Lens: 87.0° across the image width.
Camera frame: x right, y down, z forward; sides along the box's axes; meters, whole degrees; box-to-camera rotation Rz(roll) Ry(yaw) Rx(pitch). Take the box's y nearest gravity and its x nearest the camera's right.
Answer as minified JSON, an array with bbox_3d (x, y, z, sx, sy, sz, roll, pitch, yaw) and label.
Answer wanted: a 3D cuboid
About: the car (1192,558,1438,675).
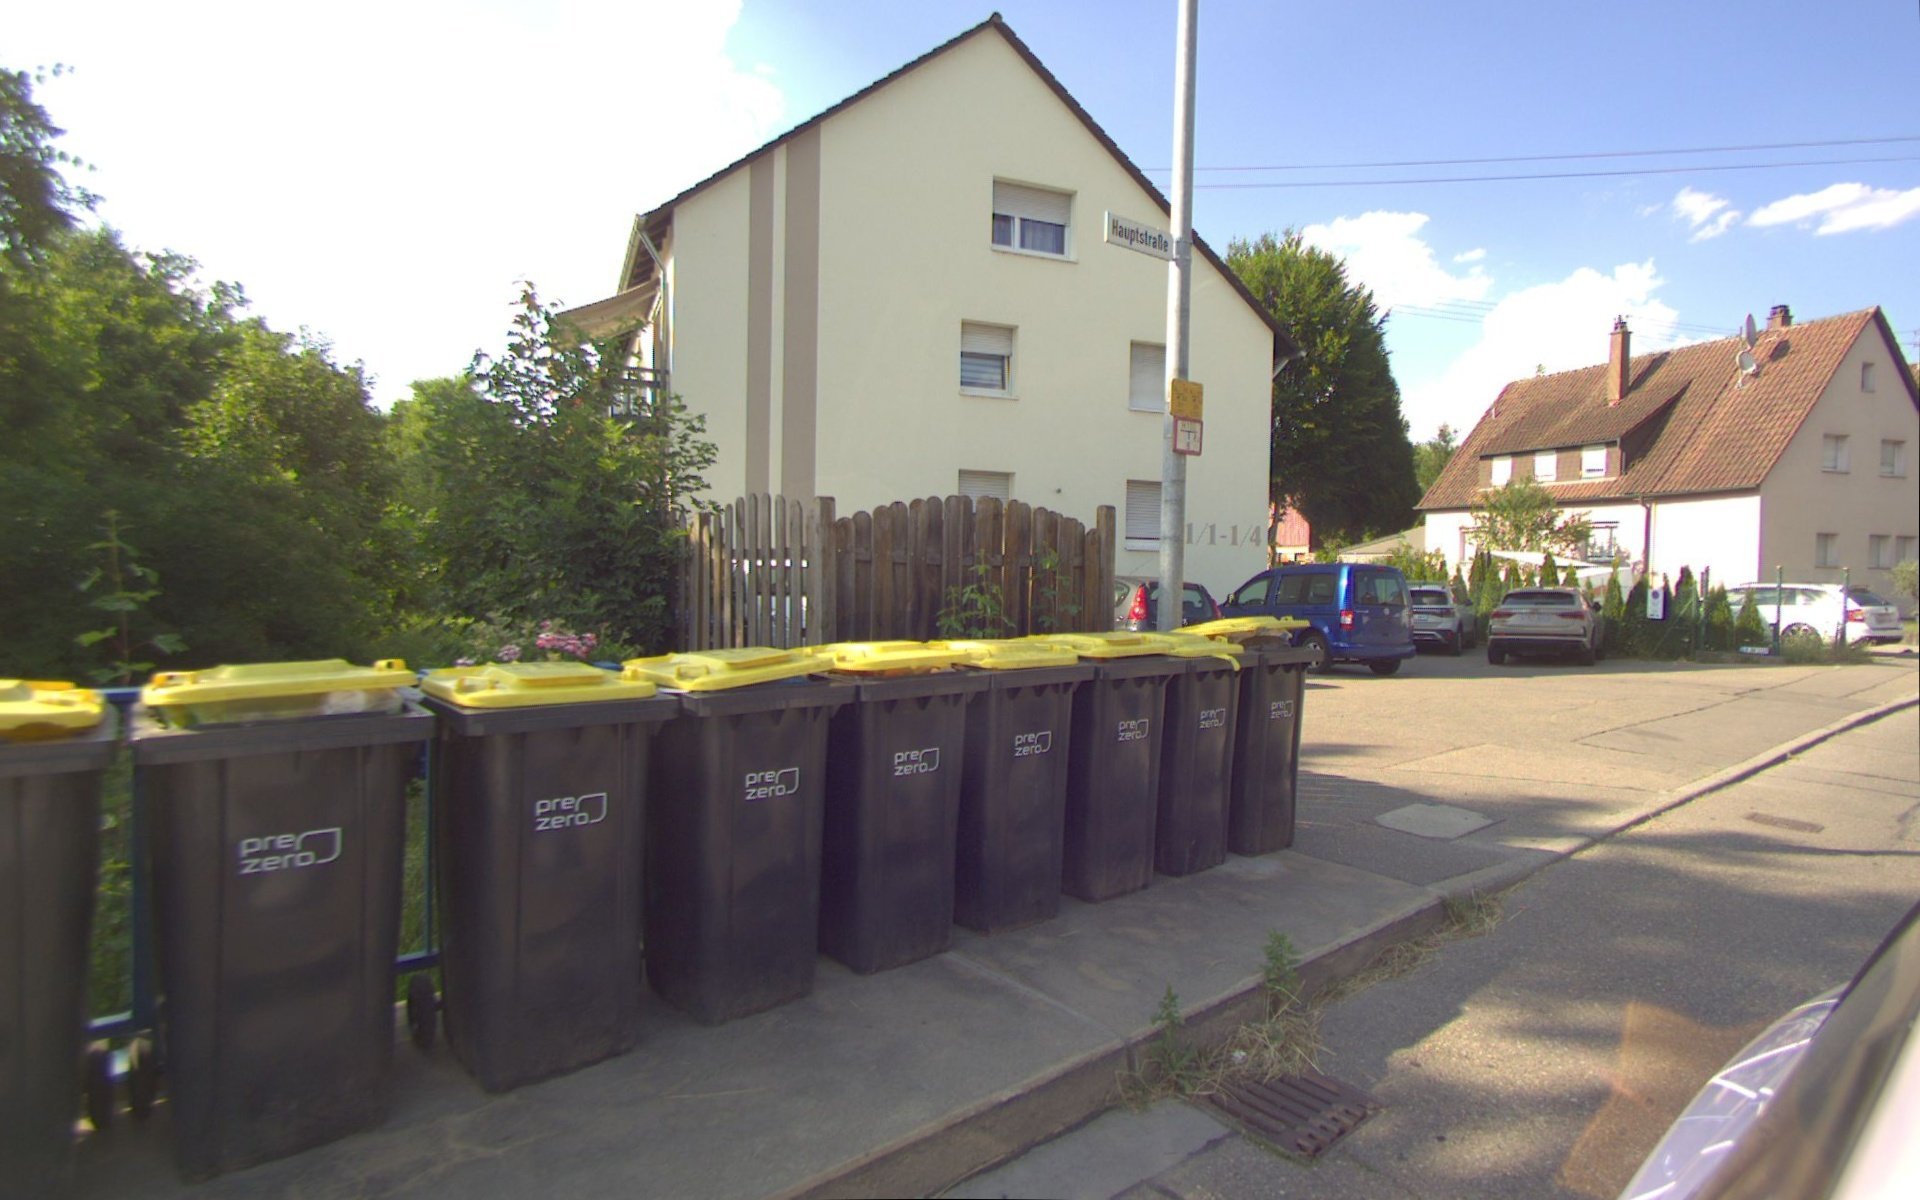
[{"bbox_3d":[6.106,0.168,17.976,1.730,1.809,4.224,-1,2,-22],"label":"car"}]

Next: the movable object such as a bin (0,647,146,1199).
[{"bbox_3d":[-2.029,0.705,2.065,0.555,1.157,0.480,-1,3,-41],"label":"movable object such as a bin"}]

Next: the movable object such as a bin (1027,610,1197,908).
[{"bbox_3d":[0.658,0.641,4.393,0.533,1.157,0.480,-1,3,-41],"label":"movable object such as a bin"}]

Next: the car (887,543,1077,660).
[{"bbox_3d":[0.199,-0.029,14.358,1.543,1.468,3.144,1,2,-22],"label":"car"}]

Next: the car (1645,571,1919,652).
[{"bbox_3d":[17.394,0.159,21.547,1.694,1.476,4.489,0,2,-21],"label":"car"}]

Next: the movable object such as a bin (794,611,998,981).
[{"bbox_3d":[-0.230,0.635,3.599,0.529,1.157,0.480,-1,3,-41],"label":"movable object such as a bin"}]

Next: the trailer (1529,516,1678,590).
[{"bbox_3d":[16.498,-1.186,25.990,3.149,1.773,1.529,1,2,-18],"label":"trailer"}]

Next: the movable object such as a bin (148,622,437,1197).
[{"bbox_3d":[-1.616,0.653,2.451,0.529,1.157,0.480,-1,3,-41],"label":"movable object such as a bin"}]

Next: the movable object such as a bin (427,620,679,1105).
[{"bbox_3d":[-1.146,0.656,2.840,0.529,1.157,0.480,-1,3,-41],"label":"movable object such as a bin"}]

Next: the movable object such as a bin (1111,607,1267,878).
[{"bbox_3d":[1.081,0.630,4.785,0.529,1.157,0.480,-1,3,-41],"label":"movable object such as a bin"}]

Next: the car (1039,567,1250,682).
[{"bbox_3d":[2.576,0.277,14.849,1.615,1.468,3.227,1,2,-20],"label":"car"}]

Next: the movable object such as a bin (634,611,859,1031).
[{"bbox_3d":[-0.682,0.633,3.218,0.529,1.157,0.480,-1,3,-41],"label":"movable object such as a bin"}]

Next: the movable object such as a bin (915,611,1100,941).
[{"bbox_3d":[0.185,0.640,3.997,0.529,1.157,0.480,-1,3,-41],"label":"movable object such as a bin"}]

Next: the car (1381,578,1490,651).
[{"bbox_3d":[11.328,0.281,24.002,1.754,1.563,3.631,0,1,35],"label":"car"}]

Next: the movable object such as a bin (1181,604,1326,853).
[{"bbox_3d":[1.493,0.613,5.156,0.529,1.157,0.480,-1,3,-41],"label":"movable object such as a bin"}]

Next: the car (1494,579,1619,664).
[{"bbox_3d":[12.375,0.371,20.871,1.690,1.538,4.219,-1,1,38],"label":"car"}]
